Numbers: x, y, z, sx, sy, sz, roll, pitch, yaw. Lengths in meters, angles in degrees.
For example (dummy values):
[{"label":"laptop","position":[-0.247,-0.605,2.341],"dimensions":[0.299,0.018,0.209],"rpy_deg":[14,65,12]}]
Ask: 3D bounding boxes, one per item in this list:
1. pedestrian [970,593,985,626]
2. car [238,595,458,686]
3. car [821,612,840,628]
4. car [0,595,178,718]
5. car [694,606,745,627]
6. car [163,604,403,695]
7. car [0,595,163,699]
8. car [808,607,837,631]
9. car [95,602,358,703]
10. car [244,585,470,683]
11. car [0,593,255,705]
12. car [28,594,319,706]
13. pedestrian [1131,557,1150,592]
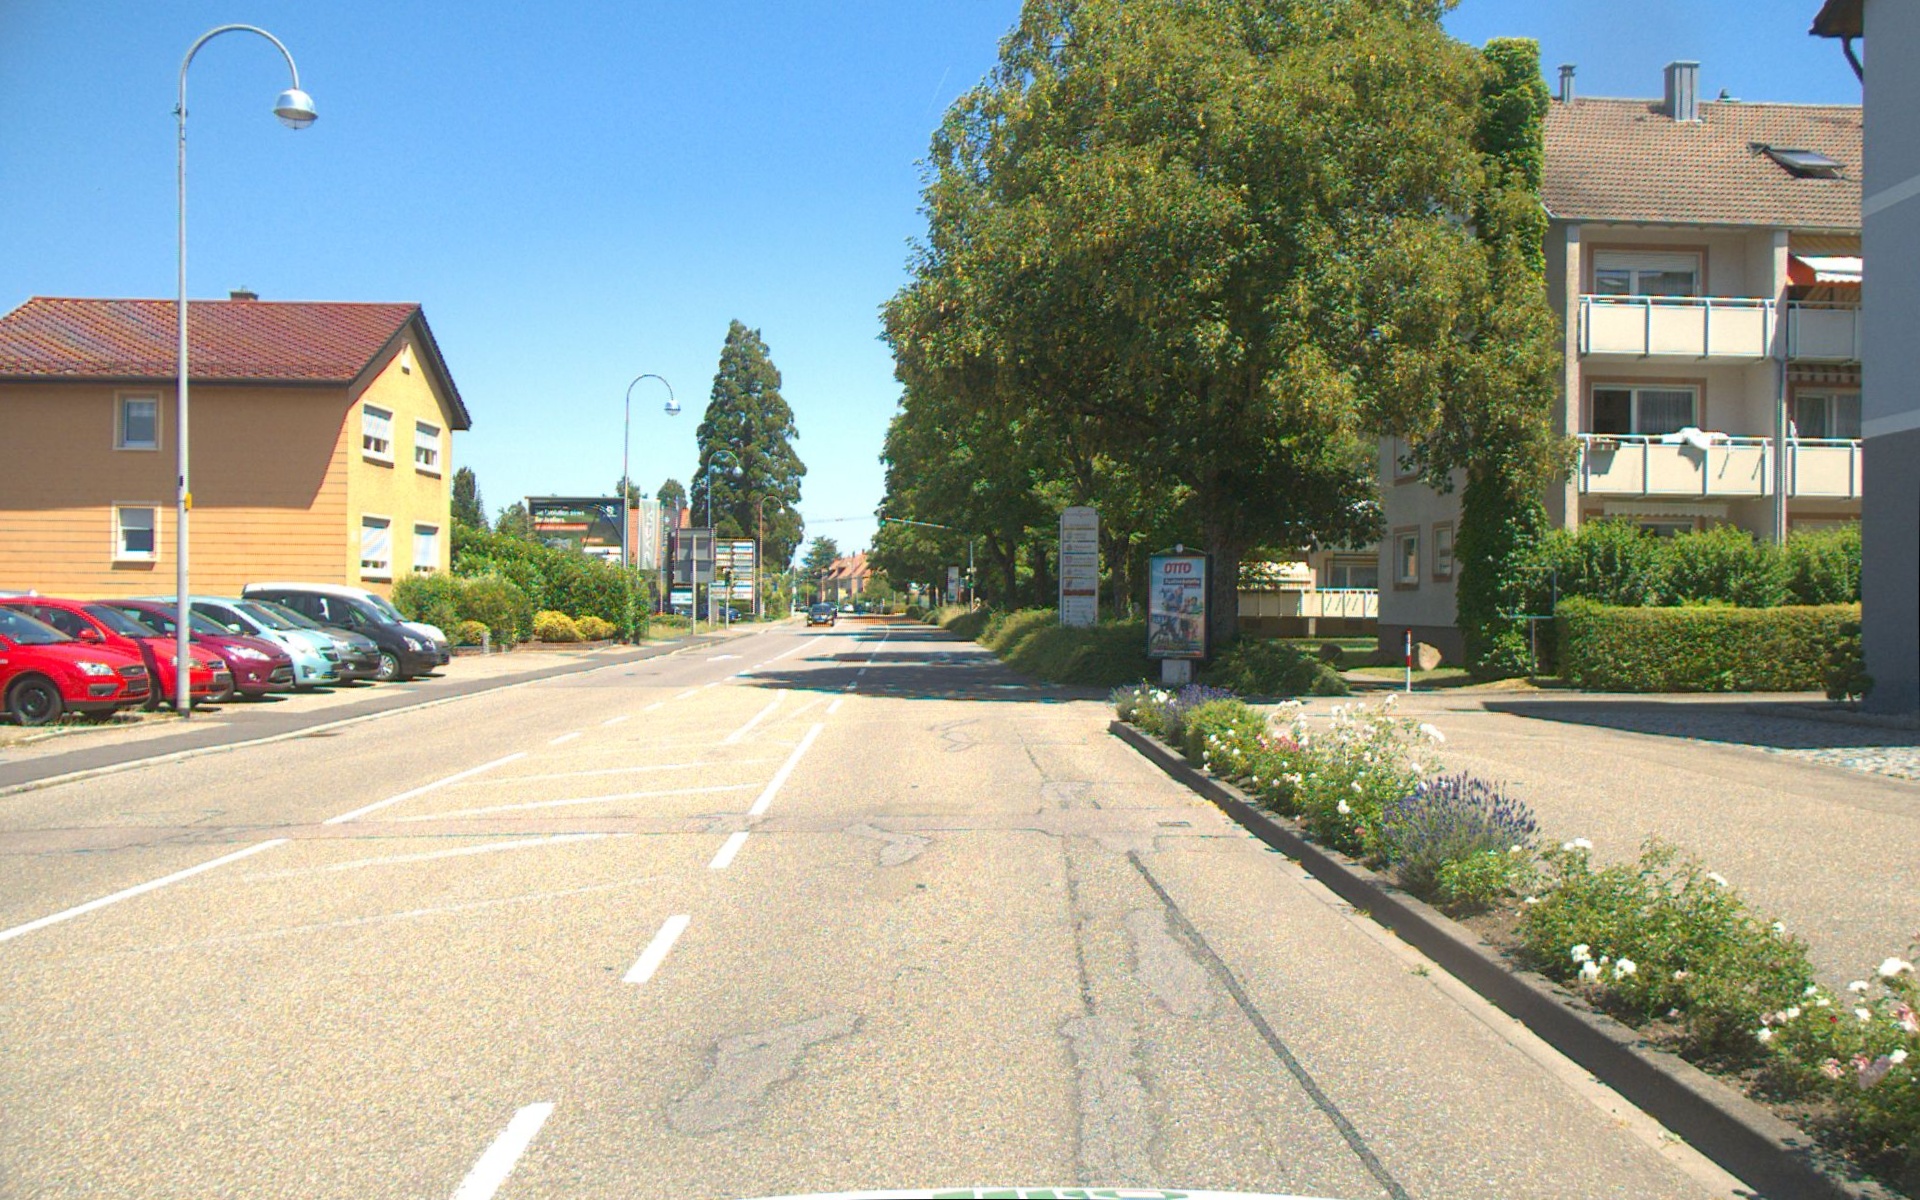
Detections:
[{"label":"pedestrian","position":[0.938,0.491,89.648],"dimensions":[0.601,1.782,0.562],"rpy_deg":[-1,-1,24]},{"label":"car","position":[-11.872,0.771,32.280],"dimensions":[3.591,1.702,1.921],"rpy_deg":[0,-1,-4]},{"label":"car","position":[-14.470,2.181,184.648],"dimensions":[1.841,1.748,4.308],"rpy_deg":[-1,0,-2]},{"label":"car","position":[-12.254,0.697,20.715],"dimensions":[4.042,1.469,1.826],"rpy_deg":[0,-1,-2]},{"label":"car","position":[-16.975,1.182,116.648],"dimensions":[3.421,1.452,1.600],"rpy_deg":[0,0,-3]},{"label":"car","position":[-12.212,0.876,30.021],"dimensions":[3.591,1.558,1.921],"rpy_deg":[0,-1,-4]},{"label":"car","position":[-16.648,0.841,29.858],"dimensions":[3.591,1.807,1.921],"rpy_deg":[0,-1,-4]},{"label":"car","position":[-9.079,1.232,109.405],"dimensions":[1.675,1.521,4.276],"rpy_deg":[0,0,-2]},{"label":"car","position":[-12.289,0.857,27.905],"dimensions":[3.591,1.608,1.921],"rpy_deg":[0,-1,-4]},{"label":"car","position":[-12.451,0.691,34.365],"dimensions":[4.015,1.931,1.997],"rpy_deg":[0,-1,-6]},{"label":"car","position":[-12.108,0.674,23.245],"dimensions":[3.591,1.483,1.891],"rpy_deg":[0,-1,-4]},{"label":"car","position":[-12.036,0.746,25.503],"dimensions":[3.591,1.633,1.880],"rpy_deg":[0,-1,-4]},{"label":"pedestrian","position":[7.154,-0.999,65.560],"dimensions":[0.648,1.358,0.888],"rpy_deg":[0,-1,-1]}]
